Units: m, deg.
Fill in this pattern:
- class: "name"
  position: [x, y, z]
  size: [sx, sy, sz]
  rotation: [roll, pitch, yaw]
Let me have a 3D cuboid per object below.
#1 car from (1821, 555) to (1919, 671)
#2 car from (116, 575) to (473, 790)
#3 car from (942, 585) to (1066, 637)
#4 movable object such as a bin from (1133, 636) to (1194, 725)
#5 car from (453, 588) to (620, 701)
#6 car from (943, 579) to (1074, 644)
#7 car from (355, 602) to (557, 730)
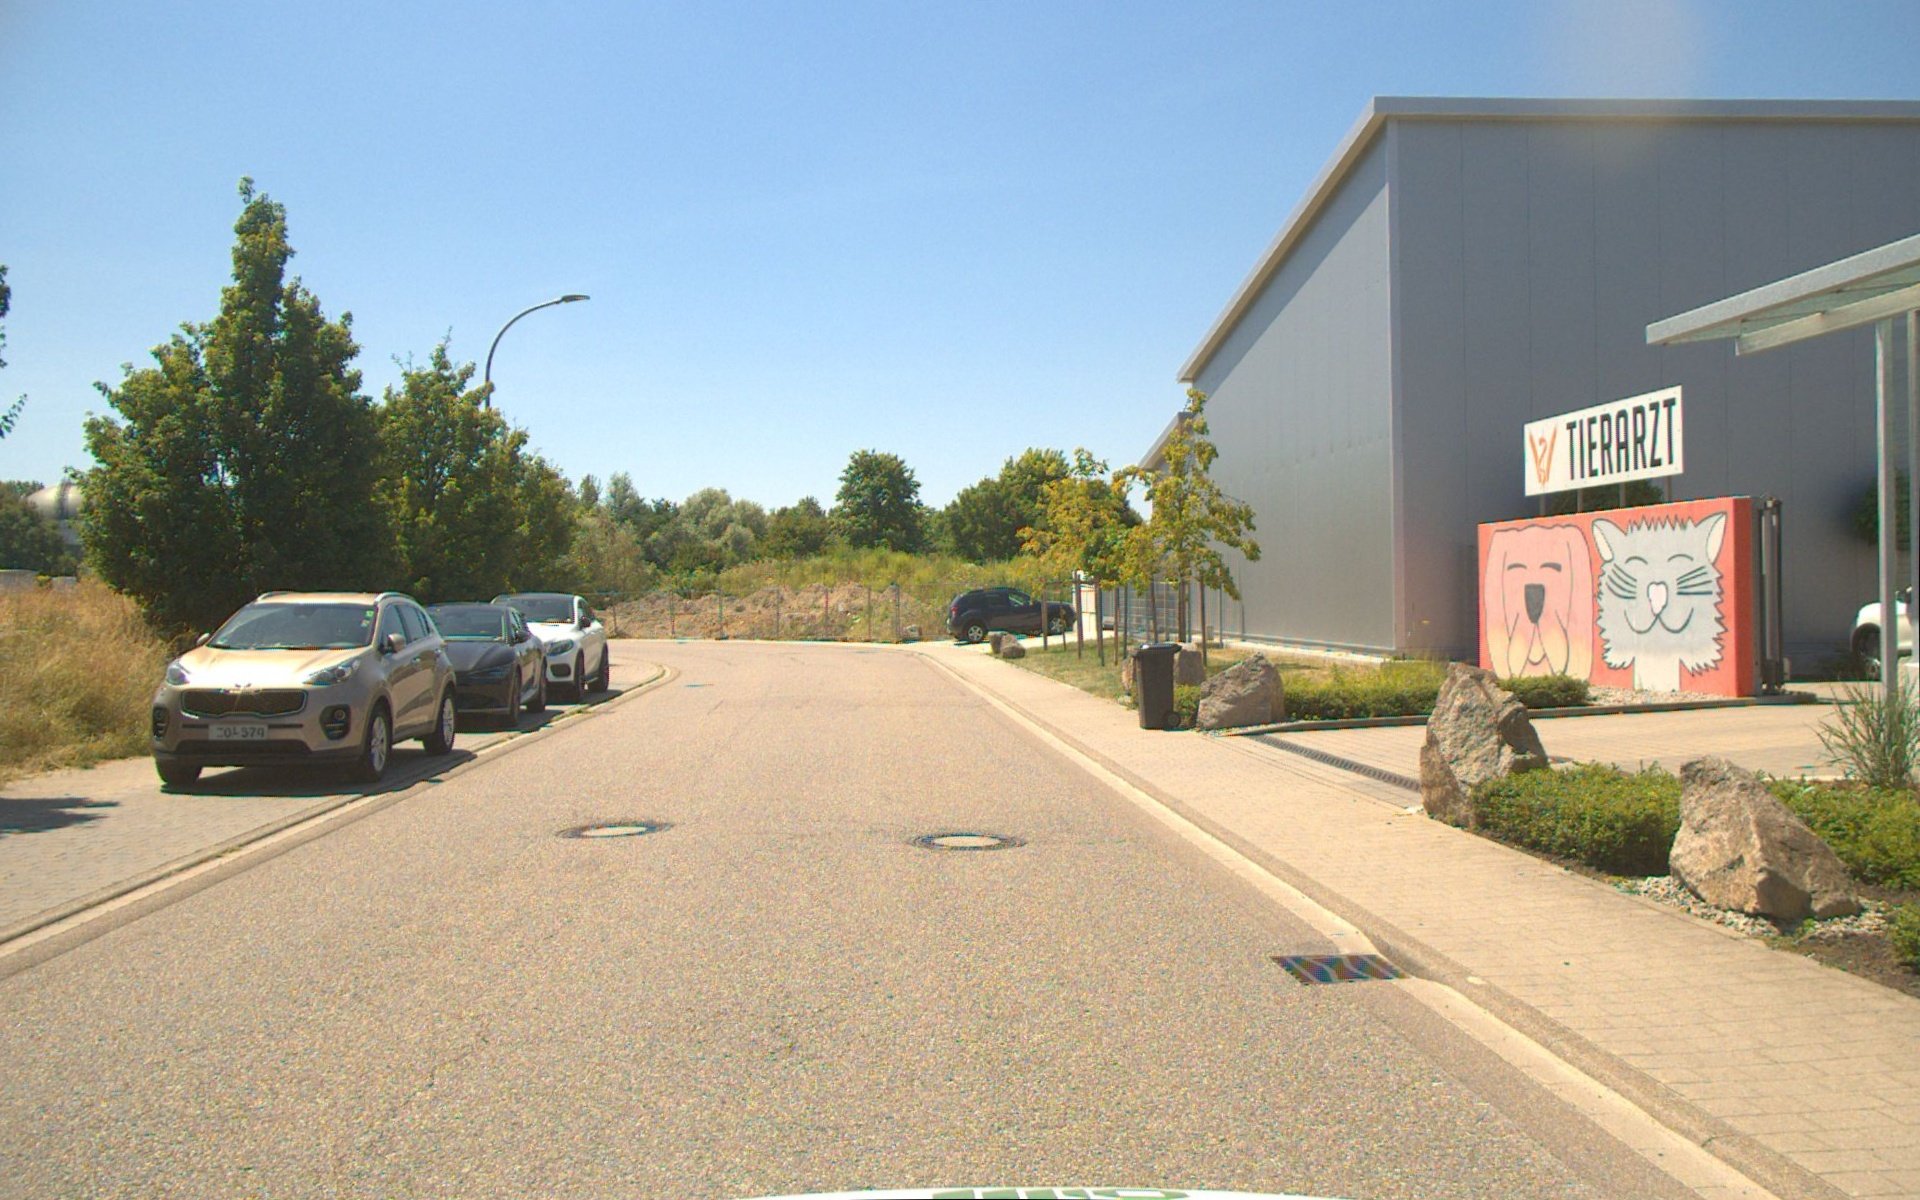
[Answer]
- class: "car"
  position: [13.915, 0.167, 22.258]
  size: [1.956, 1.569, 4.343]
  rotation: [0, -1, -9]
- class: "car"
  position: [-6.053, 0.658, 15.661]
  size: [1.875, 1.743, 4.409]
  rotation: [0, 0, -4]
- class: "car"
  position: [1.470, 0.367, 55.967]
  size: [3.933, 1.487, 1.890]
  rotation: [-4, 0, -6]
- class: "movable object such as a bin"
  position: [2.306, 0.906, 18.794]
  size: [0.548, 0.963, 0.539]
  rotation: [-2, 0, -6]
- class: "car"
  position: [-7.028, 0.681, 27.909]
  size: [1.875, 1.684, 4.750]
  rotation: [-2, 0, -4]
- class: "car"
  position: [1.549, 0.348, 53.582]
  size: [3.933, 1.683, 1.856]
  rotation: [-6, 1, -5]
- class: "car"
  position: [-6.691, 0.812, 22.430]
  size: [1.876, 1.518, 4.406]
  rotation: [0, 0, -7]
